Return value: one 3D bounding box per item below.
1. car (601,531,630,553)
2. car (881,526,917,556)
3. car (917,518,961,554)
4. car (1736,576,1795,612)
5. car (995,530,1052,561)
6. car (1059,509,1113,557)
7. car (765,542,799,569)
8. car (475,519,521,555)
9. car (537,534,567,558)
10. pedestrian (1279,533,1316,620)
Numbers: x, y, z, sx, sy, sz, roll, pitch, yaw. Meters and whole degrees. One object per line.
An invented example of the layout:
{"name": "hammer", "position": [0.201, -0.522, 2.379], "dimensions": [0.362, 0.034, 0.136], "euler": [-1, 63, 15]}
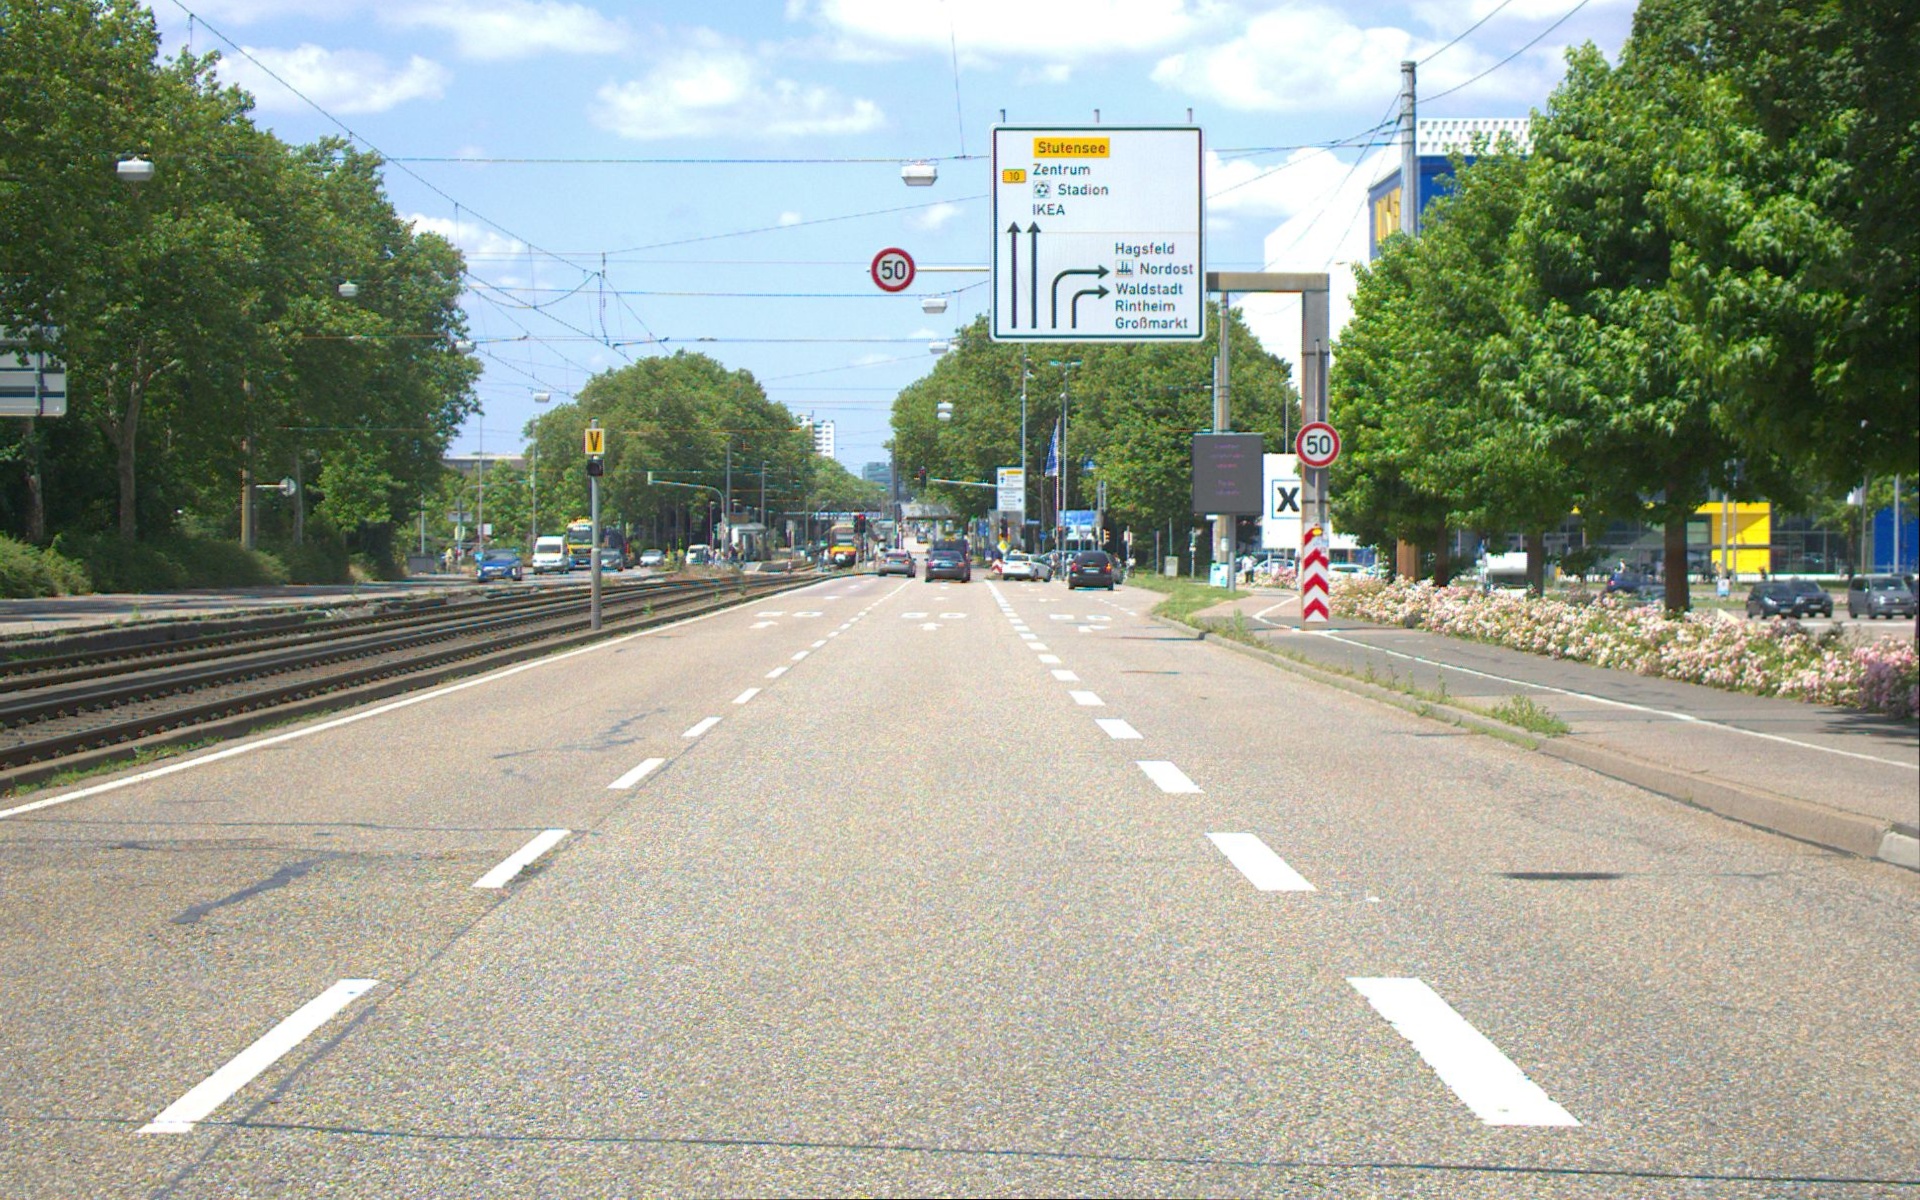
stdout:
{"name": "car", "position": [-24.476, -4.114, 244.312], "dimensions": [1.623, 1.544, 3.704], "euler": [2, 1, 0]}
{"name": "car", "position": [-3.331, -3.198, 186.649], "dimensions": [1.842, 1.544, 3.777], "euler": [2, 1, -2]}
{"name": "car", "position": [-0.958, -2.844, 153.587], "dimensions": [1.876, 1.534, 3.777], "euler": [2, 1, -1]}
{"name": "car", "position": [35.882, -0.282, 153.220], "dimensions": [1.571, 1.477, 3.889], "euler": [2, 1, -2]}
{"name": "car", "position": [3.431, -2.939, 184.993], "dimensions": [1.687, 1.544, 3.979], "euler": [2, 1, 22]}
{"name": "car", "position": [5.017, -2.667, 137.391], "dimensions": [1.899, 1.799, 3.977], "euler": [2, 1, -1]}
{"name": "car", "position": [-10.559, -2.654, 203.924], "dimensions": [1.842, 1.544, 3.777], "euler": [2, 1, -2]}
{"name": "car", "position": [-20.961, -2.852, 156.123], "dimensions": [1.644, 1.545, 4.217], "euler": [2, 1, -2]}
{"name": "car", "position": [-27.797, -3.673, 234.369], "dimensions": [1.623, 1.544, 3.704], "euler": [2, 1, 0]}
{"name": "pedestrian", "position": [7.015, -0.485, 71.498], "dimensions": [0.669, 1.786, 0.924], "euler": [2, 1, 2]}
